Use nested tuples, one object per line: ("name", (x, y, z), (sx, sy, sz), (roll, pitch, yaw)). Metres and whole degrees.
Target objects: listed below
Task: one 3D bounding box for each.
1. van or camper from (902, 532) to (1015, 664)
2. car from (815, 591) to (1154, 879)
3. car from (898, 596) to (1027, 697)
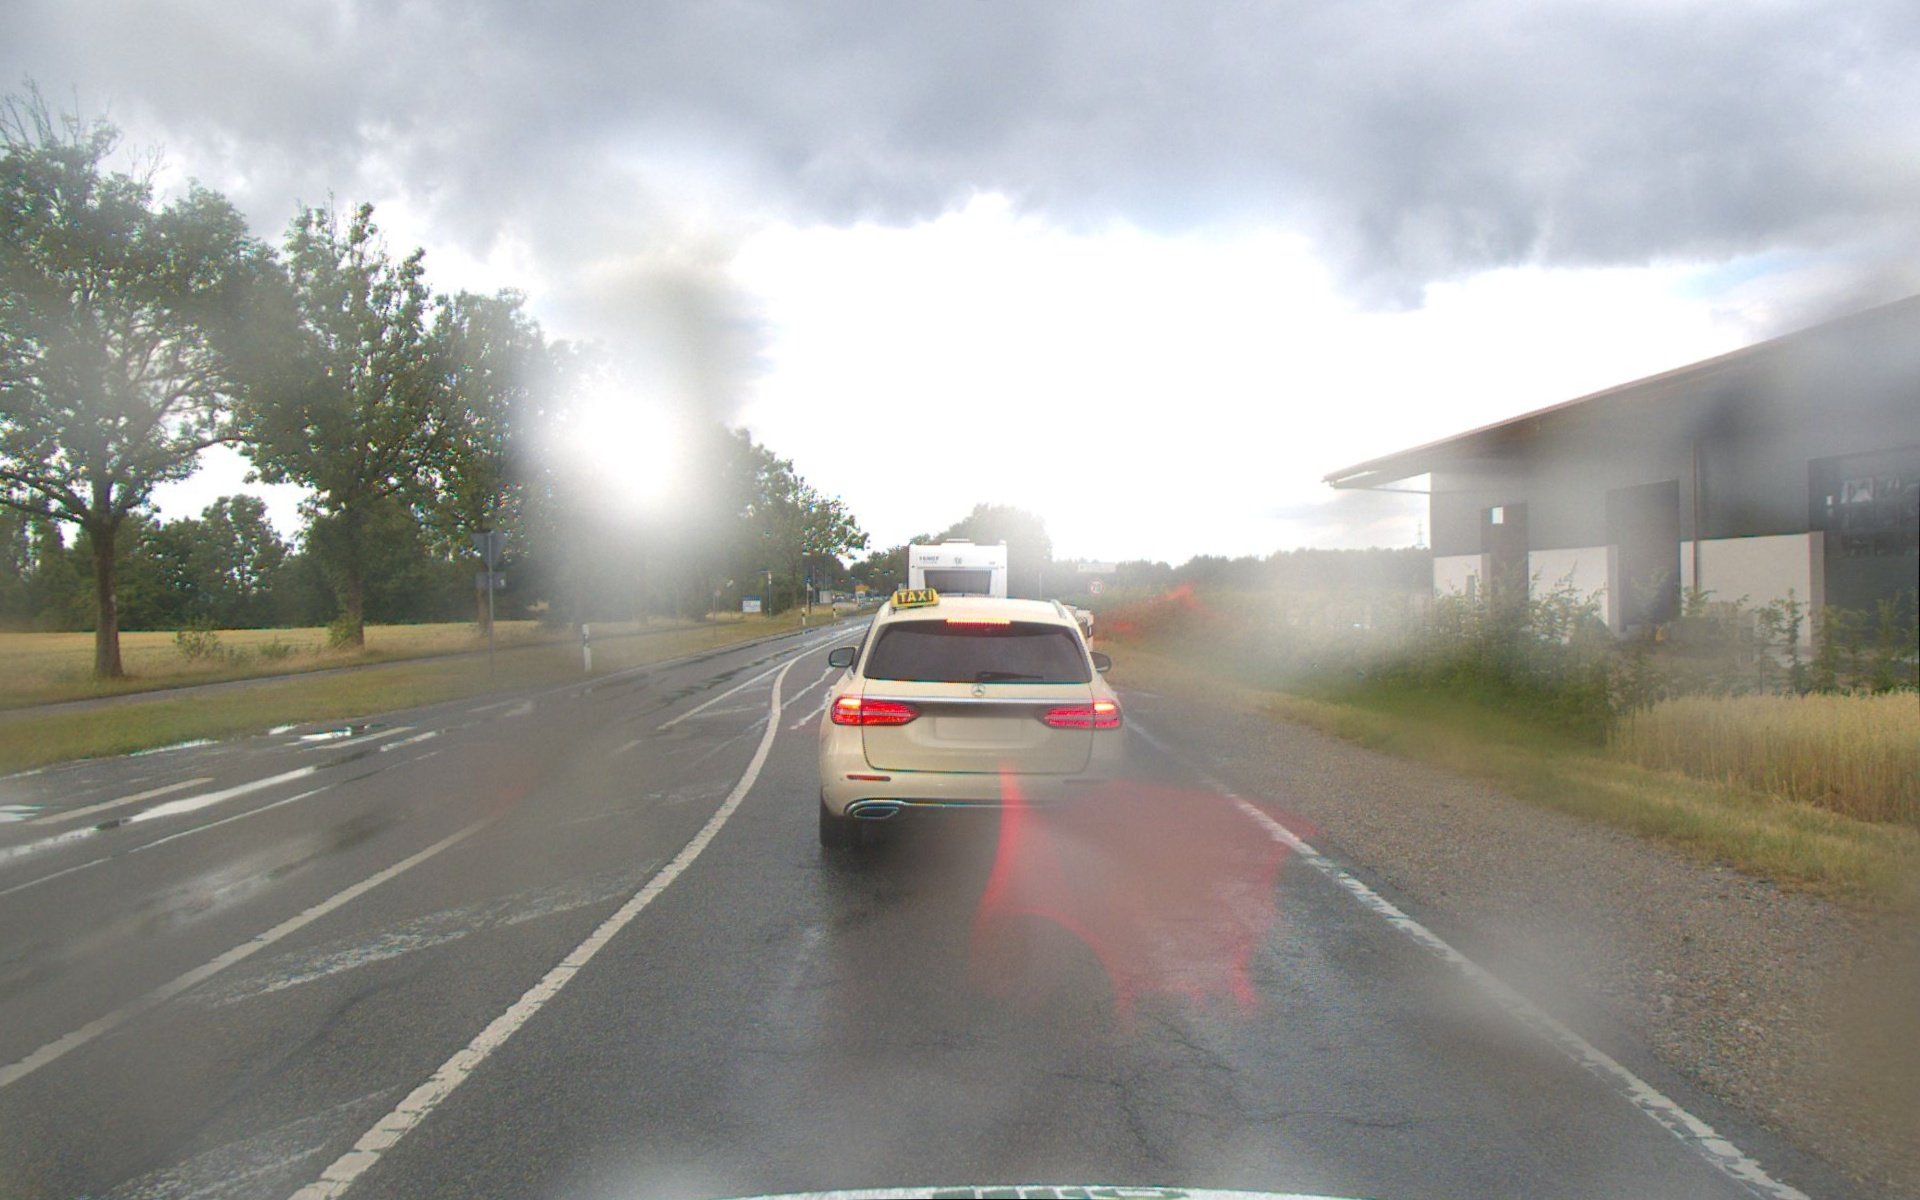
("van or camper", (-0.022, -0.059, 39.938), (2.446, 2.880, 5.934), (-2, 0, 0))
("car", (0.123, 0.696, 10.656), (1.760, 1.490, 4.030), (1, 0, 0))
("car", (0.026, 0.668, 25.881), (1.856, 1.454, 3.927), (0, 0, 0))
